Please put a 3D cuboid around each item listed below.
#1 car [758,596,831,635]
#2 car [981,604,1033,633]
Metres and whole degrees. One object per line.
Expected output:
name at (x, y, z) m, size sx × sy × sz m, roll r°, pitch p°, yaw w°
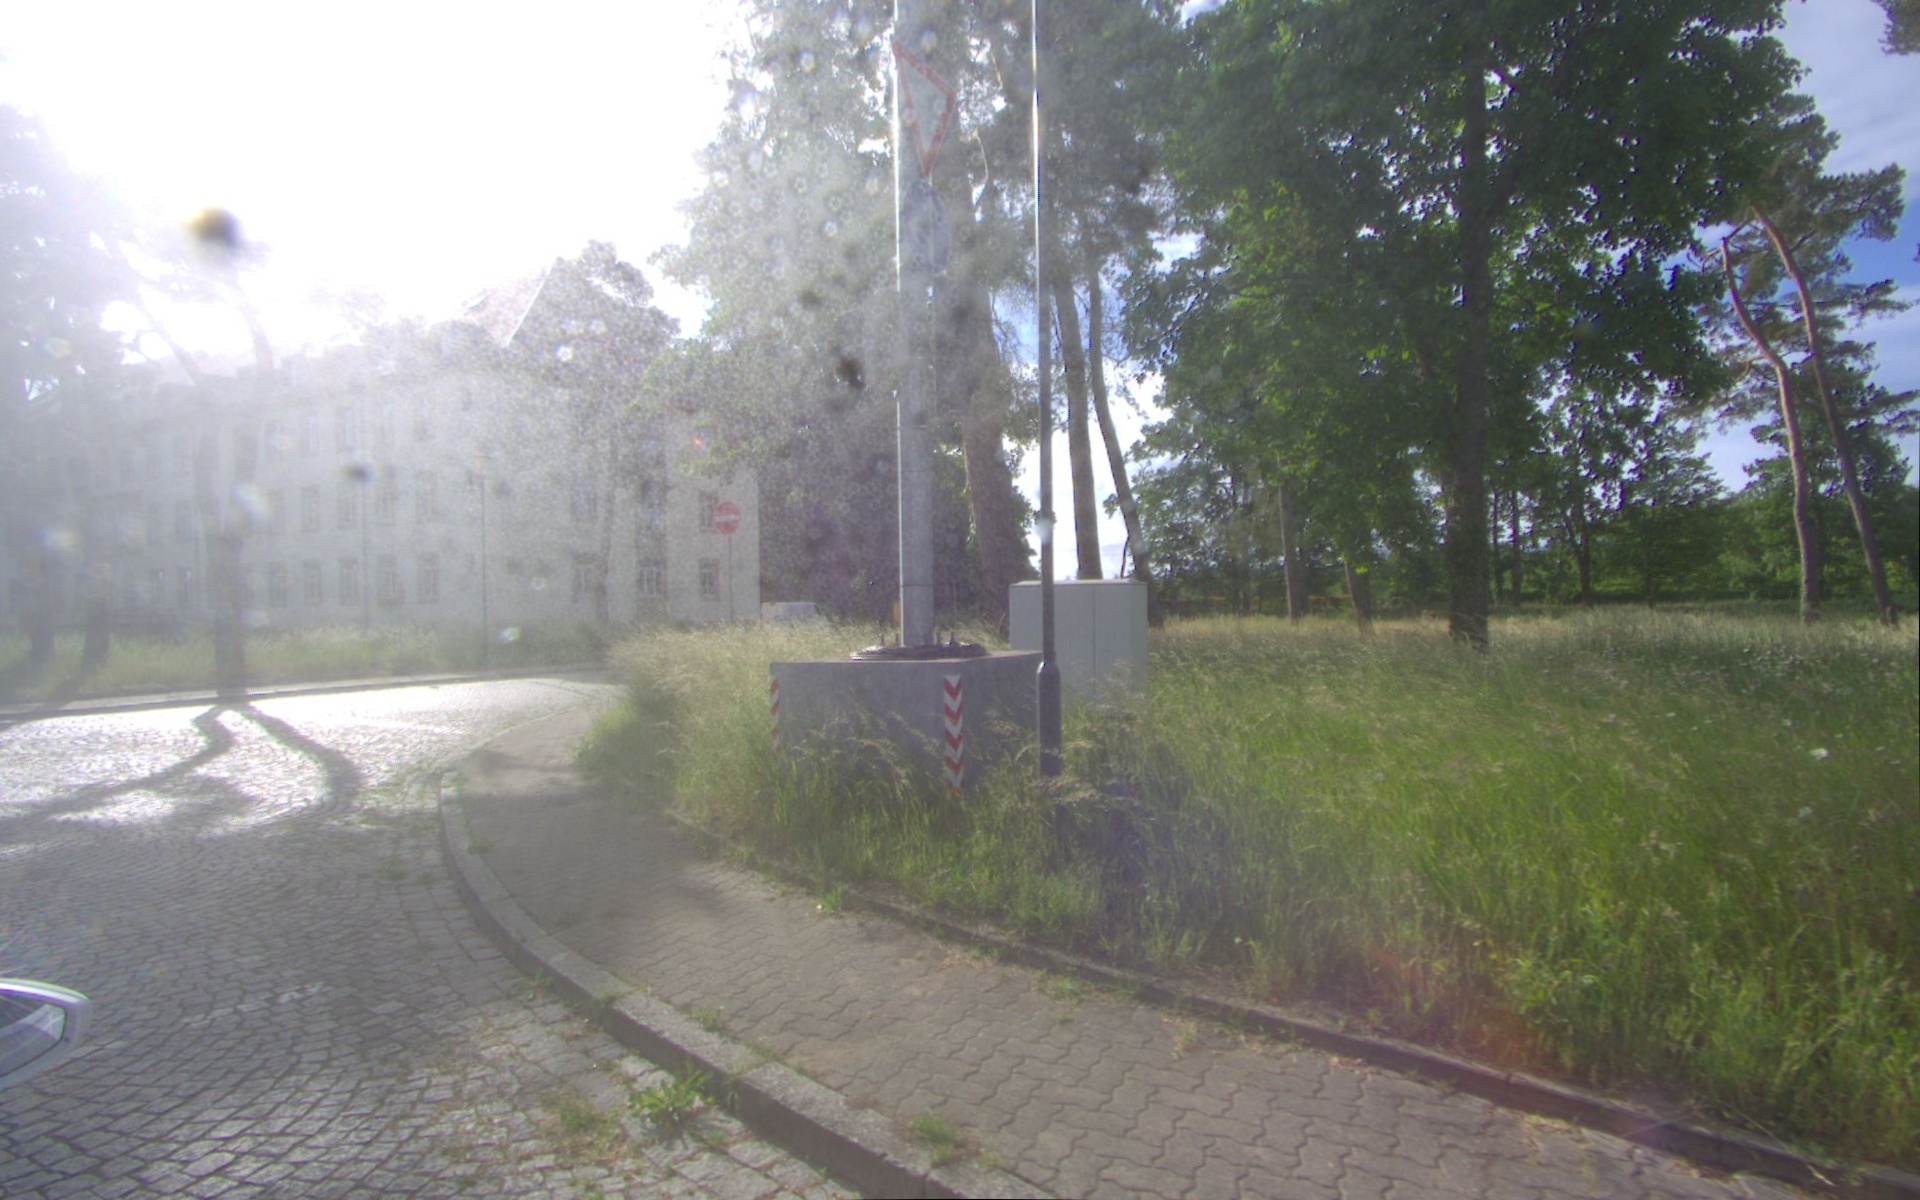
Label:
car at (-11.339, 1.083, 68.856) m, size 2.230 × 2.568 × 5.154 m, roll -1°, pitch -1°, yaw 28°
car at (2.921, 1.137, 61.915) m, size 1.826 × 1.701 × 3.932 m, roll -1°, pitch -1°, yaw 25°
